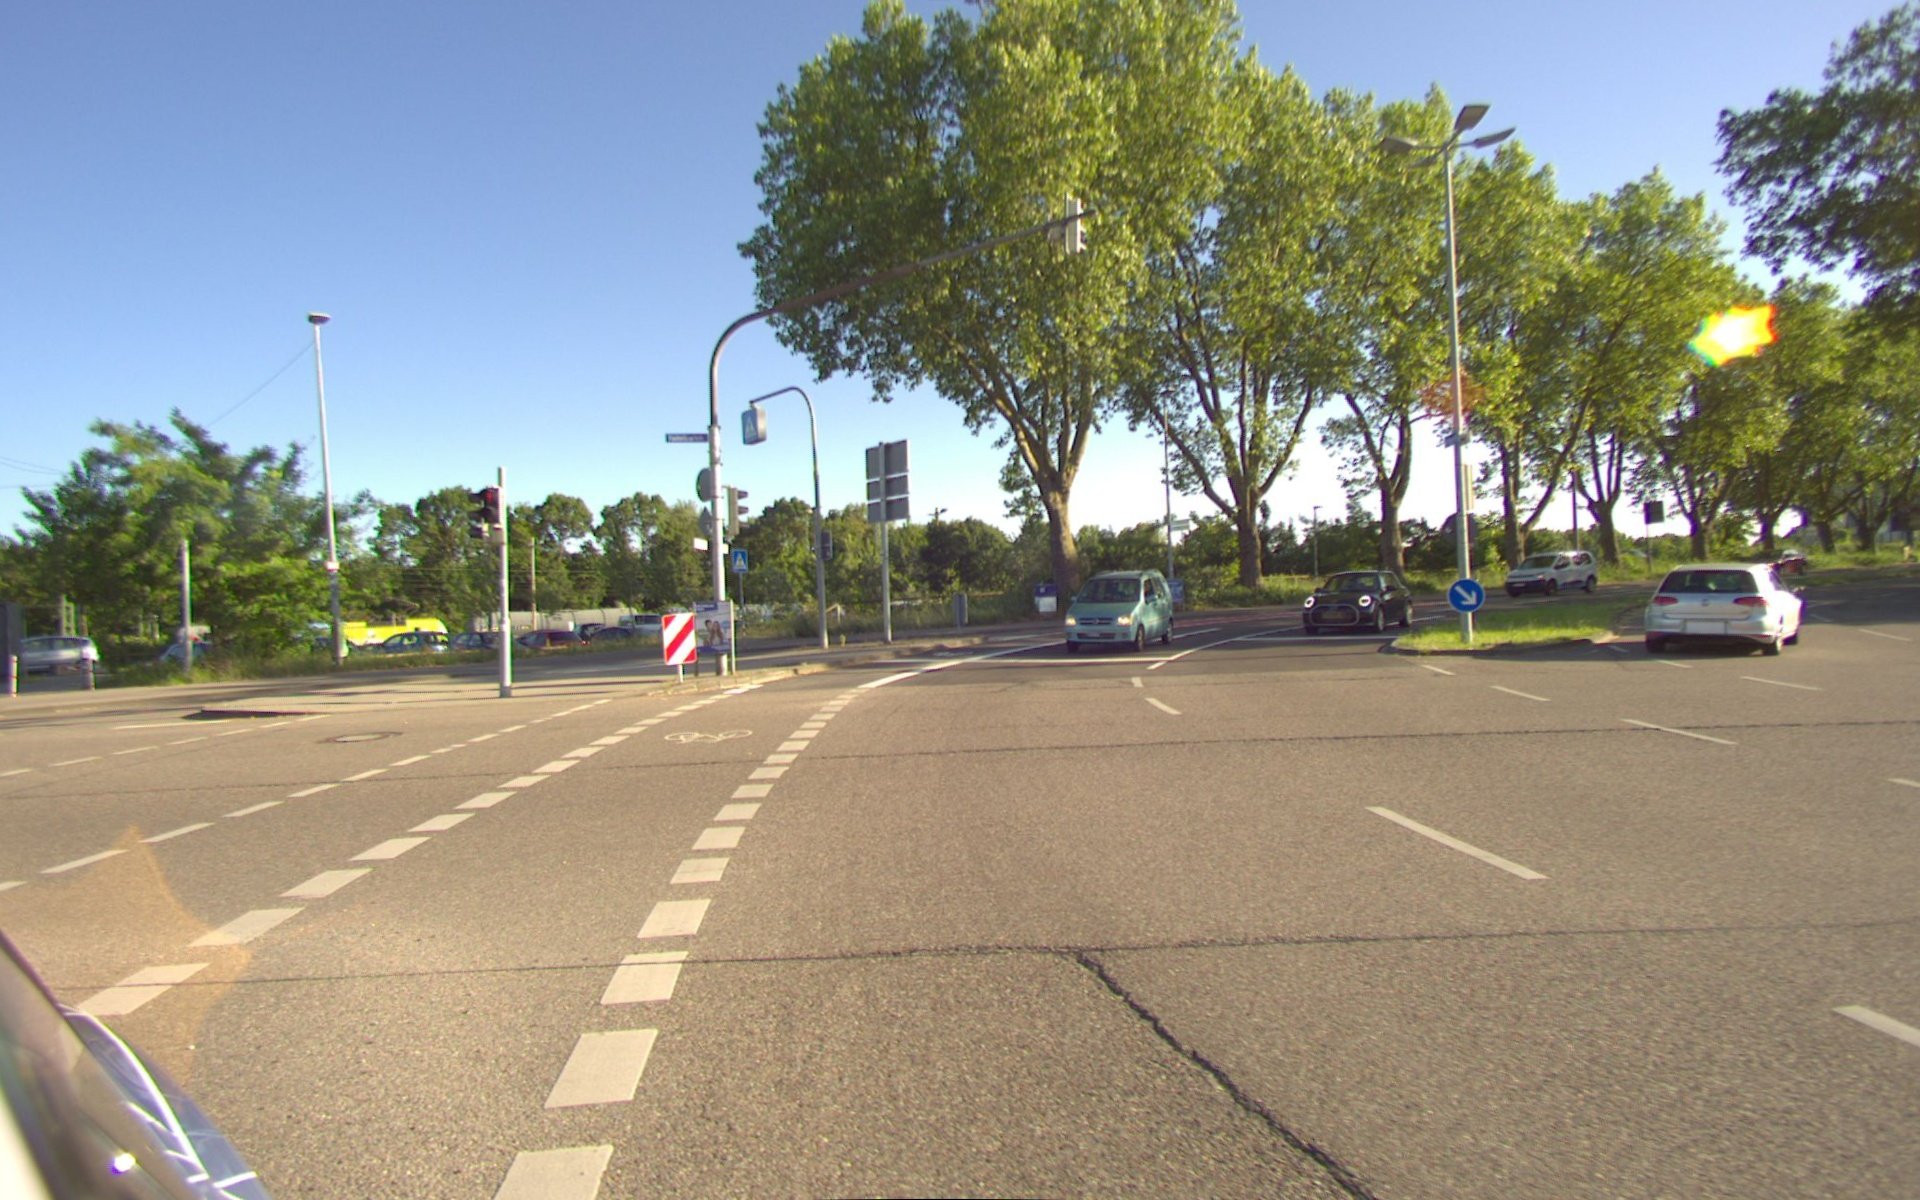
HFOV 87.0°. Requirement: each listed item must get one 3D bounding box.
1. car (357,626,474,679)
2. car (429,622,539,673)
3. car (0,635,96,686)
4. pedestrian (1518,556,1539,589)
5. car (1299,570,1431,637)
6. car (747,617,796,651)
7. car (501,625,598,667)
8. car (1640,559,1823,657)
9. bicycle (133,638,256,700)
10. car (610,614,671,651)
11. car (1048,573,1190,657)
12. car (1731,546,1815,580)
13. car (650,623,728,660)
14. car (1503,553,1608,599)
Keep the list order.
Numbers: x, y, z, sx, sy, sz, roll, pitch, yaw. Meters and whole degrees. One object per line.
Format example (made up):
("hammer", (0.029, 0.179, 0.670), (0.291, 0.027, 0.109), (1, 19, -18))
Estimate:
("car", (-19.207, 1.850, 35.690), (3.839, 1.678, 1.992), (-2, 0, 33))
("car", (-17.634, 1.765, 37.425), (3.988, 1.695, 1.821), (-2, 0, 33))
("car", (-35.720, 2.335, 39.287), (4.480, 1.743, 2.153), (-3, 0, 34))
("pedestrian", (28.491, -1.373, 50.728), (0.620, 1.598, 0.667), (-2, 0, -30))
("car", (9.744, 0.050, 24.196), (1.906, 1.438, 3.887), (-2, 1, 38))
("car", (-11.170, 1.981, 59.744), (1.709, 1.852, 4.052), (-3, 0, -27))
("car", (-16.104, 1.791, 39.614), (3.994, 1.470, 1.708), (-2, 0, 38))
("car", (12.910, 0.103, 16.852), (1.977, 1.438, 3.880), (0, 0, 44))
("bicycle", (-22.633, 2.035, 29.954), (2.915, 1.628, 0.906), (-2, 0, 1))
("car", (-17.634, 1.771, 55.685), (2.162, 1.852, 5.041), (-3, 0, -29))
("car", (3.564, 0.270, 22.051), (1.911, 1.648, 4.085), (-2, 0, 26))
("car", (42.844, -1.943, 53.311), (4.251, 1.611, 1.865), (-3, 0, -28))
("car", (-12.320, 1.858, 45.865), (1.968, 1.486, 4.008), (-2, 0, -38))
("car", (25.260, -1.025, 42.903), (4.193, 1.756, 1.865), (-3, 0, -28))
